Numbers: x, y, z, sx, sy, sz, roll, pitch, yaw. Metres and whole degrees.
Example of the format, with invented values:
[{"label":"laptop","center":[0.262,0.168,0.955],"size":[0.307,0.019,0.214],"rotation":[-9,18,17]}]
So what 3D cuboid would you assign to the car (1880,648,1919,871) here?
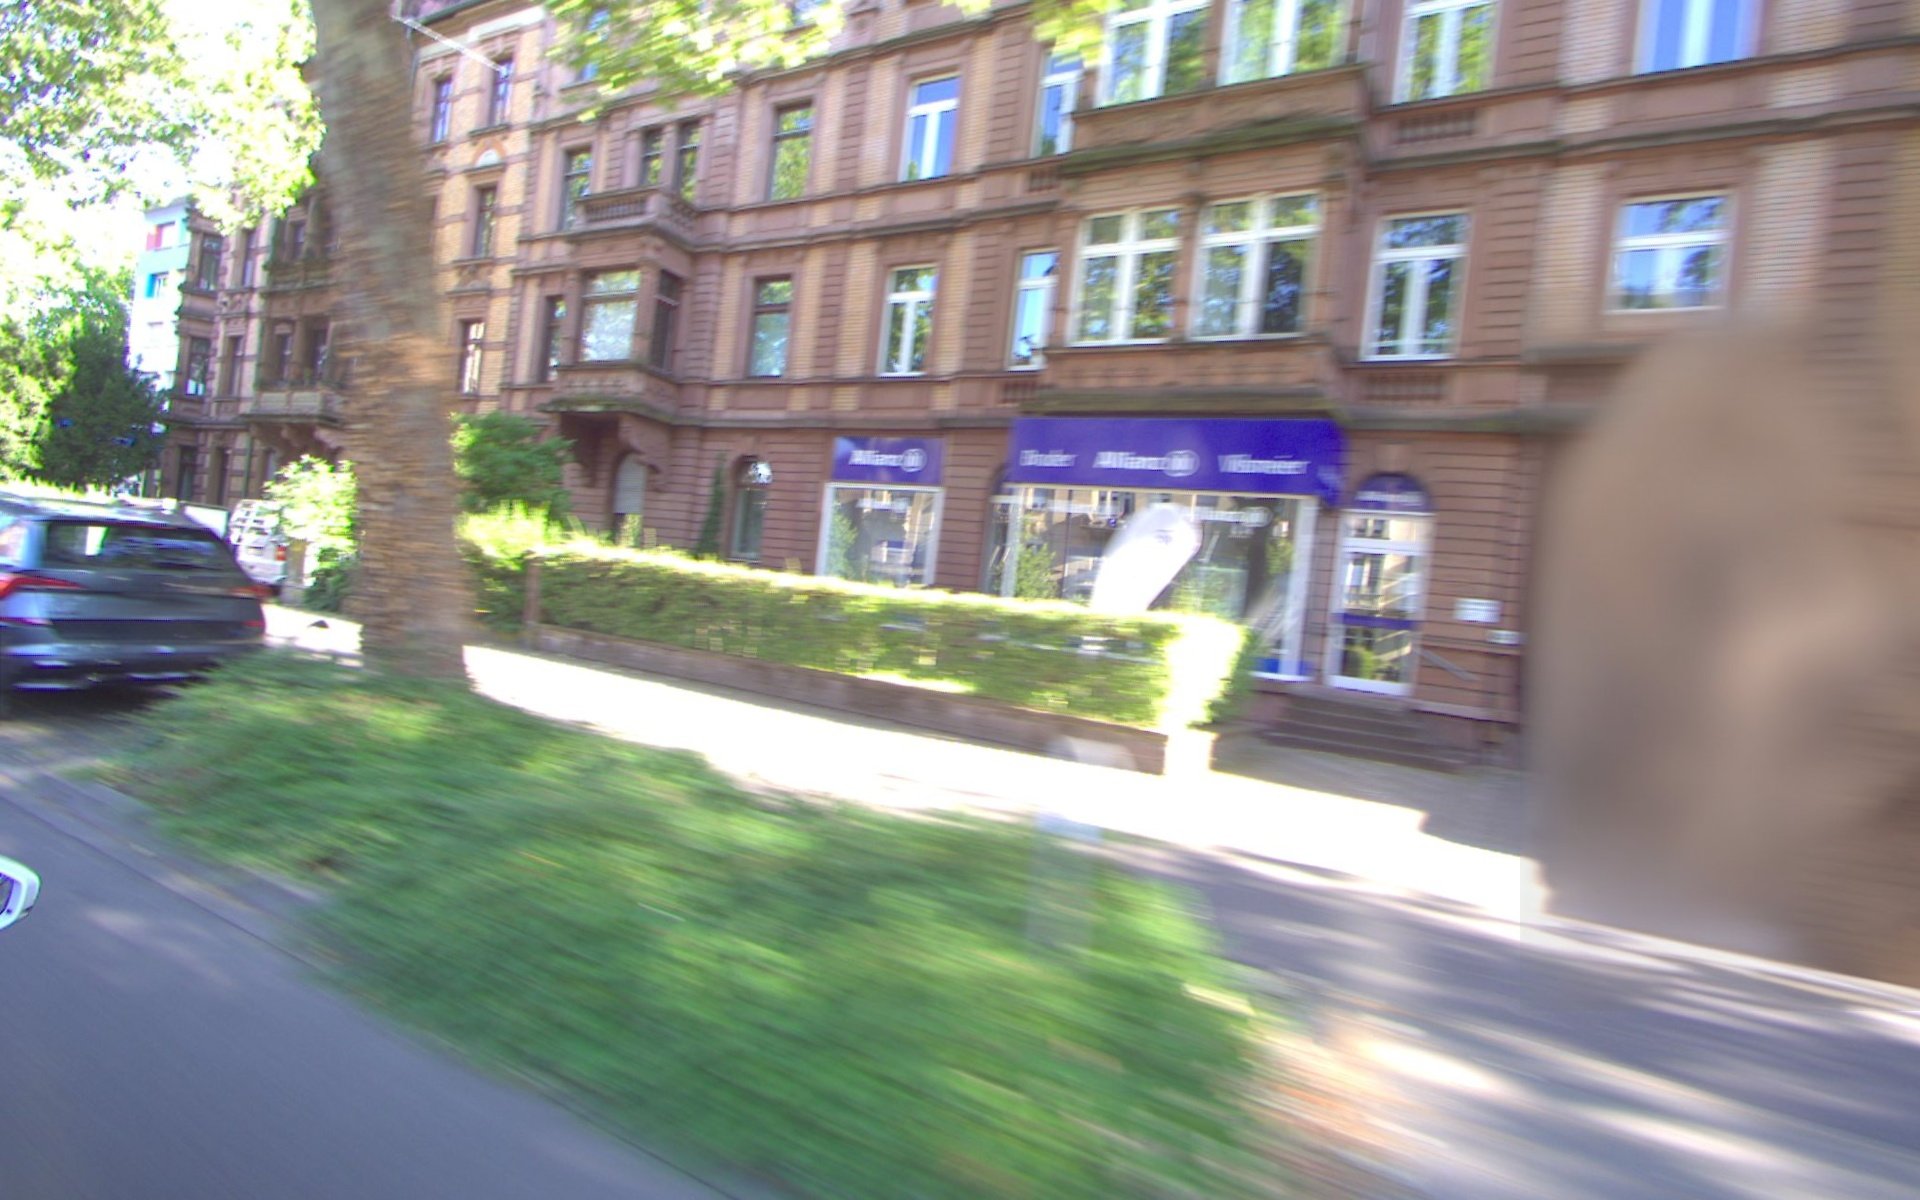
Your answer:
[{"label":"car","center":[9.225,1.509,7.814],"size":[1.966,2.040,4.180],"rotation":[7,1,29]}]

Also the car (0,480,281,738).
[{"label":"car","center":[-7.454,-0.094,7.990],"size":[4.343,1.607,1.618],"rotation":[6,0,31]}]

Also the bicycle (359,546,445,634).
[{"label":"bicycle","center":[-9.117,-0.183,16.412],"size":[1.739,1.263,0.338],"rotation":[6,-3,36]}]

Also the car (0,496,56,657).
[{"label":"car","center":[-11.000,-0.433,10.194],"size":[3.982,1.518,1.553],"rotation":[6,0,31]}]

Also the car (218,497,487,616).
[{"label":"car","center":[-13.043,-0.857,21.925],"size":[1.882,2.039,4.577],"rotation":[6,0,31]}]
